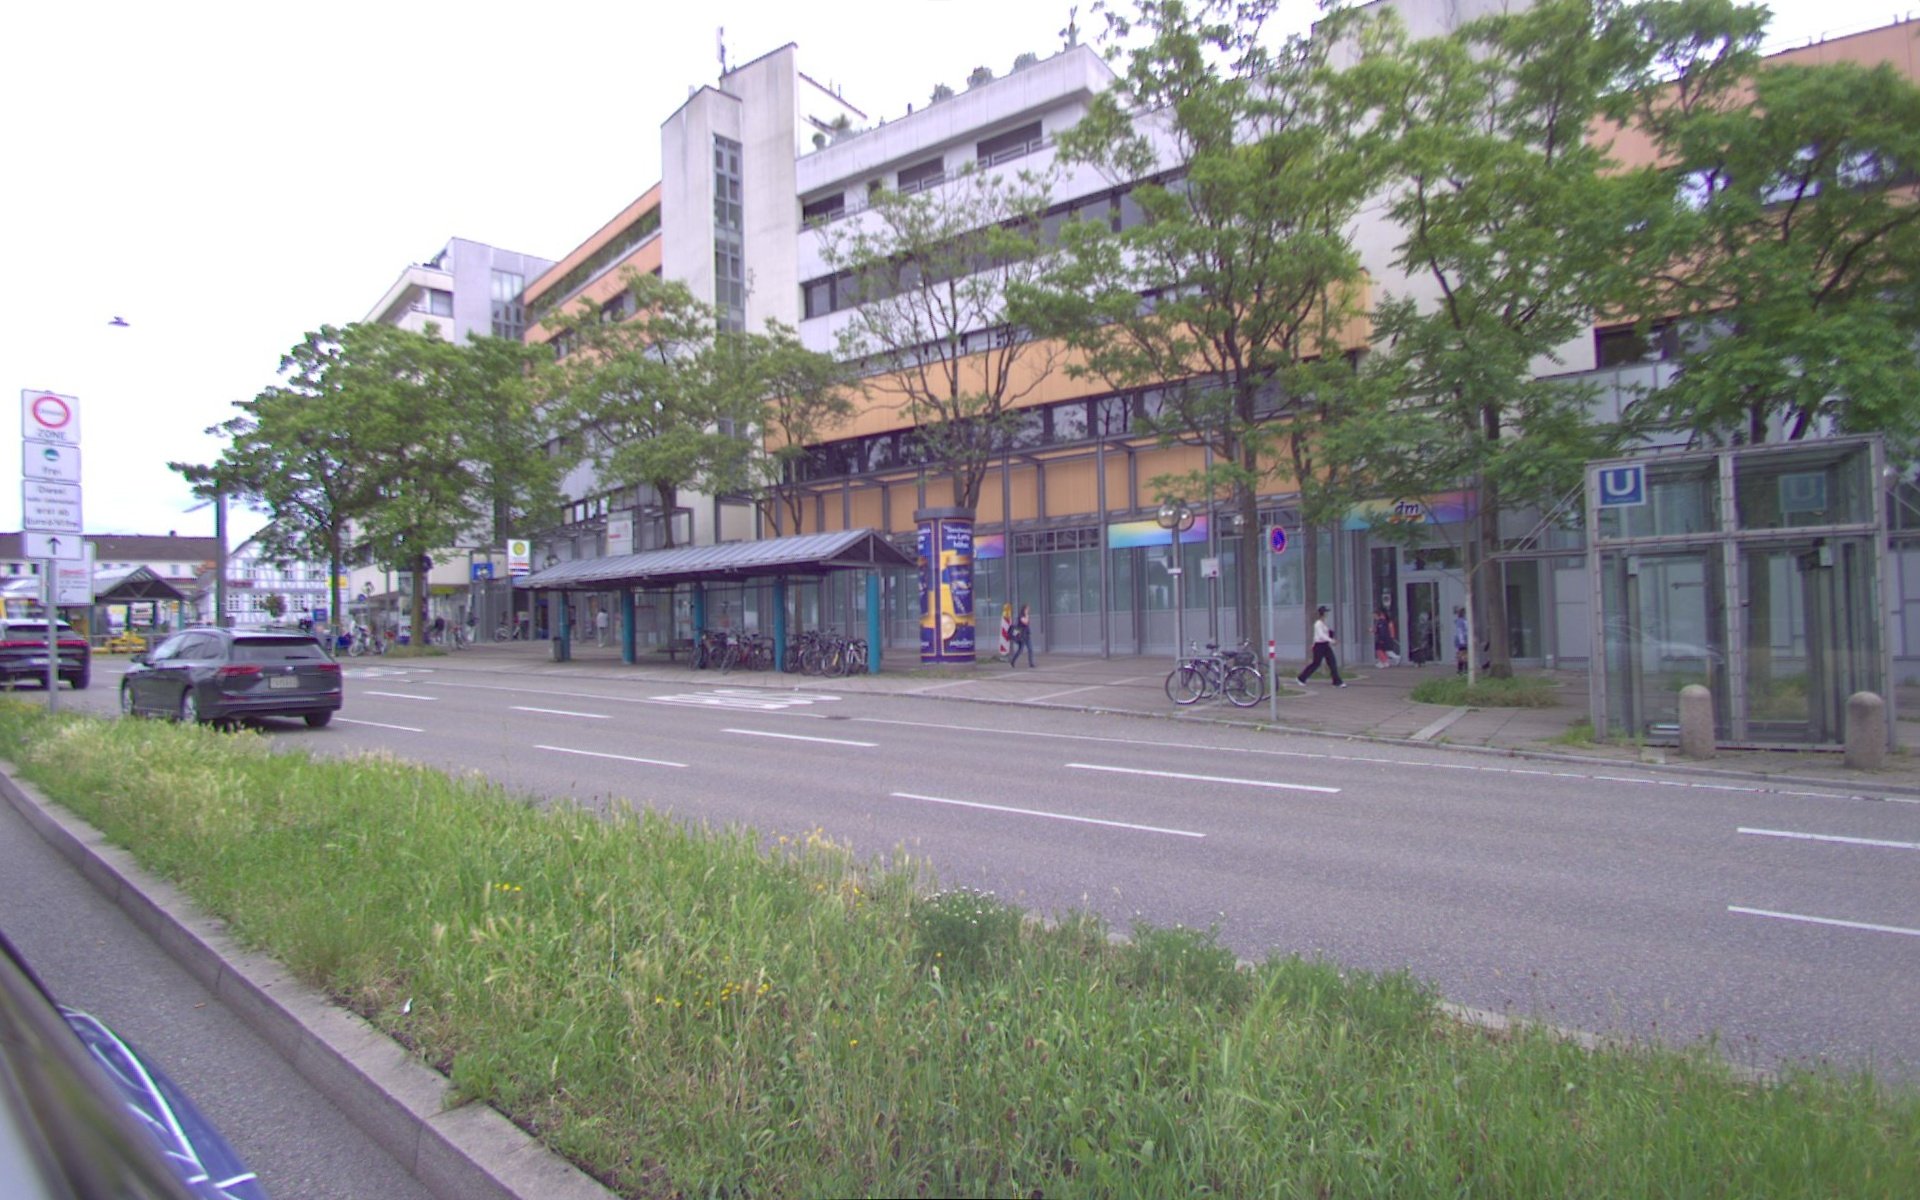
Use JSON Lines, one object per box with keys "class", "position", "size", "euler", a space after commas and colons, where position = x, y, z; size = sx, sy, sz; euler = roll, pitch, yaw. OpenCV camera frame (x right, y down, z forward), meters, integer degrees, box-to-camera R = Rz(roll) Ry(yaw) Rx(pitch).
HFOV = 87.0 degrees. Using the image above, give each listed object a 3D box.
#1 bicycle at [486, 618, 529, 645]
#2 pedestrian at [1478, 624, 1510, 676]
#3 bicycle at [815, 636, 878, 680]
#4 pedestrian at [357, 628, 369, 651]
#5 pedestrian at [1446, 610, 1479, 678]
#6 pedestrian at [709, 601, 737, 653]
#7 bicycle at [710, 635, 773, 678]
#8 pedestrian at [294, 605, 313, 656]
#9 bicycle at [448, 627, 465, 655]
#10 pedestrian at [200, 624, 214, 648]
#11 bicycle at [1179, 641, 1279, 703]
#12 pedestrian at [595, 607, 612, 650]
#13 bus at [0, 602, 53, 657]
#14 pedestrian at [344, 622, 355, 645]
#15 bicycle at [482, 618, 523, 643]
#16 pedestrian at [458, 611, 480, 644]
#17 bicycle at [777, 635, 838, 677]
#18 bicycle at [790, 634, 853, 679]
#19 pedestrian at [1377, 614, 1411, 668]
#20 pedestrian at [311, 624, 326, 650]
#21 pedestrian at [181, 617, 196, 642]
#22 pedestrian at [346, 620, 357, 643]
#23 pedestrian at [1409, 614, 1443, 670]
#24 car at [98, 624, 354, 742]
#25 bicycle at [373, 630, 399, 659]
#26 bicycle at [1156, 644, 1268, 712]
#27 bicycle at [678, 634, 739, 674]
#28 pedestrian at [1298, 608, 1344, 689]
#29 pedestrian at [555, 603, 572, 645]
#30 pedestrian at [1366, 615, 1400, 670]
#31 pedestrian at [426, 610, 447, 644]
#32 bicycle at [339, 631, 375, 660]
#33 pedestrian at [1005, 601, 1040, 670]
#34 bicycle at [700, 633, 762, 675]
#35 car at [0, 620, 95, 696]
{"class": "bicycle", "position": [-24.949, 1.727, 55.791], "size": [2.107, 1.385, 0.621], "euler": [-1, 0, -31]}
{"class": "pedestrian", "position": [12.335, 1.149, 23.371], "size": [0.620, 1.190, 0.418], "euler": [-1, -2, 31]}
{"class": "bicycle", "position": [-2.907, 1.475, 26.062], "size": [0.549, 1.048, 1.714], "euler": [-2, 0, 38]}
{"class": "pedestrian", "position": [-38.674, 2.551, 65.567], "size": [0.548, 1.506, 0.454], "euler": [1, -2, -41]}
{"class": "pedestrian", "position": [11.470, 1.001, 23.101], "size": [0.620, 1.515, 0.563], "euler": [-1, -2, 31]}
{"class": "pedestrian", "position": [-9.368, 1.070, 39.979], "size": [0.792, 2.029, 0.702], "euler": [-1, 0, 33]}
{"class": "bicycle", "position": [-5.963, 1.531, 27.724], "size": [0.549, 1.048, 1.714], "euler": [-2, 1, 38]}
{"class": "pedestrian", "position": [-30.769, 1.426, 47.435], "size": [0.608, 2.325, 0.583], "euler": [-1, -2, 39]}
{"class": "bicycle", "position": [-21.354, 1.709, 42.932], "size": [0.584, 1.134, 2.044], "euler": [1, -1, -26]}
{"class": "pedestrian", "position": [-50.048, 2.396, 67.264], "size": [0.581, 1.554, 0.570], "euler": [-1, -2, 32]}
{"class": "bicycle", "position": [4.981, 1.313, 18.792], "size": [1.737, 1.074, 0.542], "euler": [-2, -1, 45]}
{"class": "pedestrian", "position": [-15.475, 1.244, 43.909], "size": [0.639, 1.823, 0.761], "euler": [0, -2, -16]}
{"class": "bus", "position": [-55.983, 1.688, 58.619], "size": [8.470, 3.006, 2.530], "euler": [-1, -2, 29]}
{"class": "pedestrian", "position": [-30.887, 1.693, 51.169], "size": [0.368, 1.188, 0.338], "euler": [-1, -2, 31]}
{"class": "bicycle", "position": [-26.098, 1.738, 57.769], "size": [2.106, 1.377, 0.621], "euler": [-1, 0, -24]}
{"class": "pedestrian", "position": [-25.642, 1.452, 52.850], "size": [0.752, 1.695, 0.755], "euler": [-1, -2, 41]}
{"class": "bicycle", "position": [-4.140, 1.516, 27.563], "size": [0.549, 1.048, 1.714], "euler": [-2, -1, 38]}
{"class": "bicycle", "position": [-3.616, 1.459, 26.595], "size": [0.549, 1.048, 1.714], "euler": [-2, 0, 38]}
{"class": "pedestrian", "position": [11.349, 1.075, 26.462], "size": [0.694, 1.385, 0.578], "euler": [-1, -2, 34]}
{"class": "pedestrian", "position": [-39.075, 2.270, 61.681], "size": [0.581, 1.554, 0.570], "euler": [-1, -2, 32]}
{"class": "pedestrian", "position": [-62.476, 2.396, 81.942], "size": [0.867, 2.029, 1.010], "euler": [1, -2, -44]}
{"class": "pedestrian", "position": [-39.187, 2.031, 65.171], "size": [0.548, 1.506, 0.454], "euler": [1, -2, -41]}
{"class": "pedestrian", "position": [11.921, 1.067, 25.905], "size": [0.694, 1.385, 0.578], "euler": [-1, -2, 34]}
{"class": "car", "position": [-10.901, 1.131, 14.951], "size": [4.278, 1.492, 1.695], "euler": [-1, -3, 35]}
{"class": "bicycle", "position": [-22.749, 1.755, 40.112], "size": [0.584, 1.085, 2.044], "euler": [0, -1, -21]}
{"class": "bicycle", "position": [4.365, 1.325, 17.600], "size": [0.802, 1.068, 1.739], "euler": [0, -1, -40]}
{"class": "bicycle", "position": [-7.236, 1.536, 29.151], "size": [0.549, 1.048, 1.714], "euler": [-2, 0, 38]}
{"class": "pedestrian", "position": [7.574, 0.998, 21.256], "size": [0.721, 1.662, 0.669], "euler": [-1, -1, 37]}
{"class": "pedestrian", "position": [-19.380, 1.163, 49.509], "size": [0.558, 2.029, 0.611], "euler": [1, -2, -44]}
{"class": "pedestrian", "position": [10.858, 1.081, 25.999], "size": [0.694, 1.385, 0.578], "euler": [-1, -2, 34]}
{"class": "pedestrian", "position": [-29.107, 1.517, 56.272], "size": [0.752, 1.859, 0.755], "euler": [-1, -2, 41]}
{"class": "bicycle", "position": [-23.616, 1.768, 39.654], "size": [0.585, 1.085, 2.042], "euler": [0, -1, -12]}
{"class": "pedestrian", "position": [1.658, 0.941, 26.892], "size": [0.769, 1.800, 0.525], "euler": [-1, -2, 33]}
{"class": "bicycle", "position": [-6.457, 1.513, 28.586], "size": [0.549, 1.048, 1.714], "euler": [-2, 1, 38]}
{"class": "car", "position": [-21.179, 1.255, 22.772], "size": [4.067, 1.533, 1.817], "euler": [0, -2, 38]}
